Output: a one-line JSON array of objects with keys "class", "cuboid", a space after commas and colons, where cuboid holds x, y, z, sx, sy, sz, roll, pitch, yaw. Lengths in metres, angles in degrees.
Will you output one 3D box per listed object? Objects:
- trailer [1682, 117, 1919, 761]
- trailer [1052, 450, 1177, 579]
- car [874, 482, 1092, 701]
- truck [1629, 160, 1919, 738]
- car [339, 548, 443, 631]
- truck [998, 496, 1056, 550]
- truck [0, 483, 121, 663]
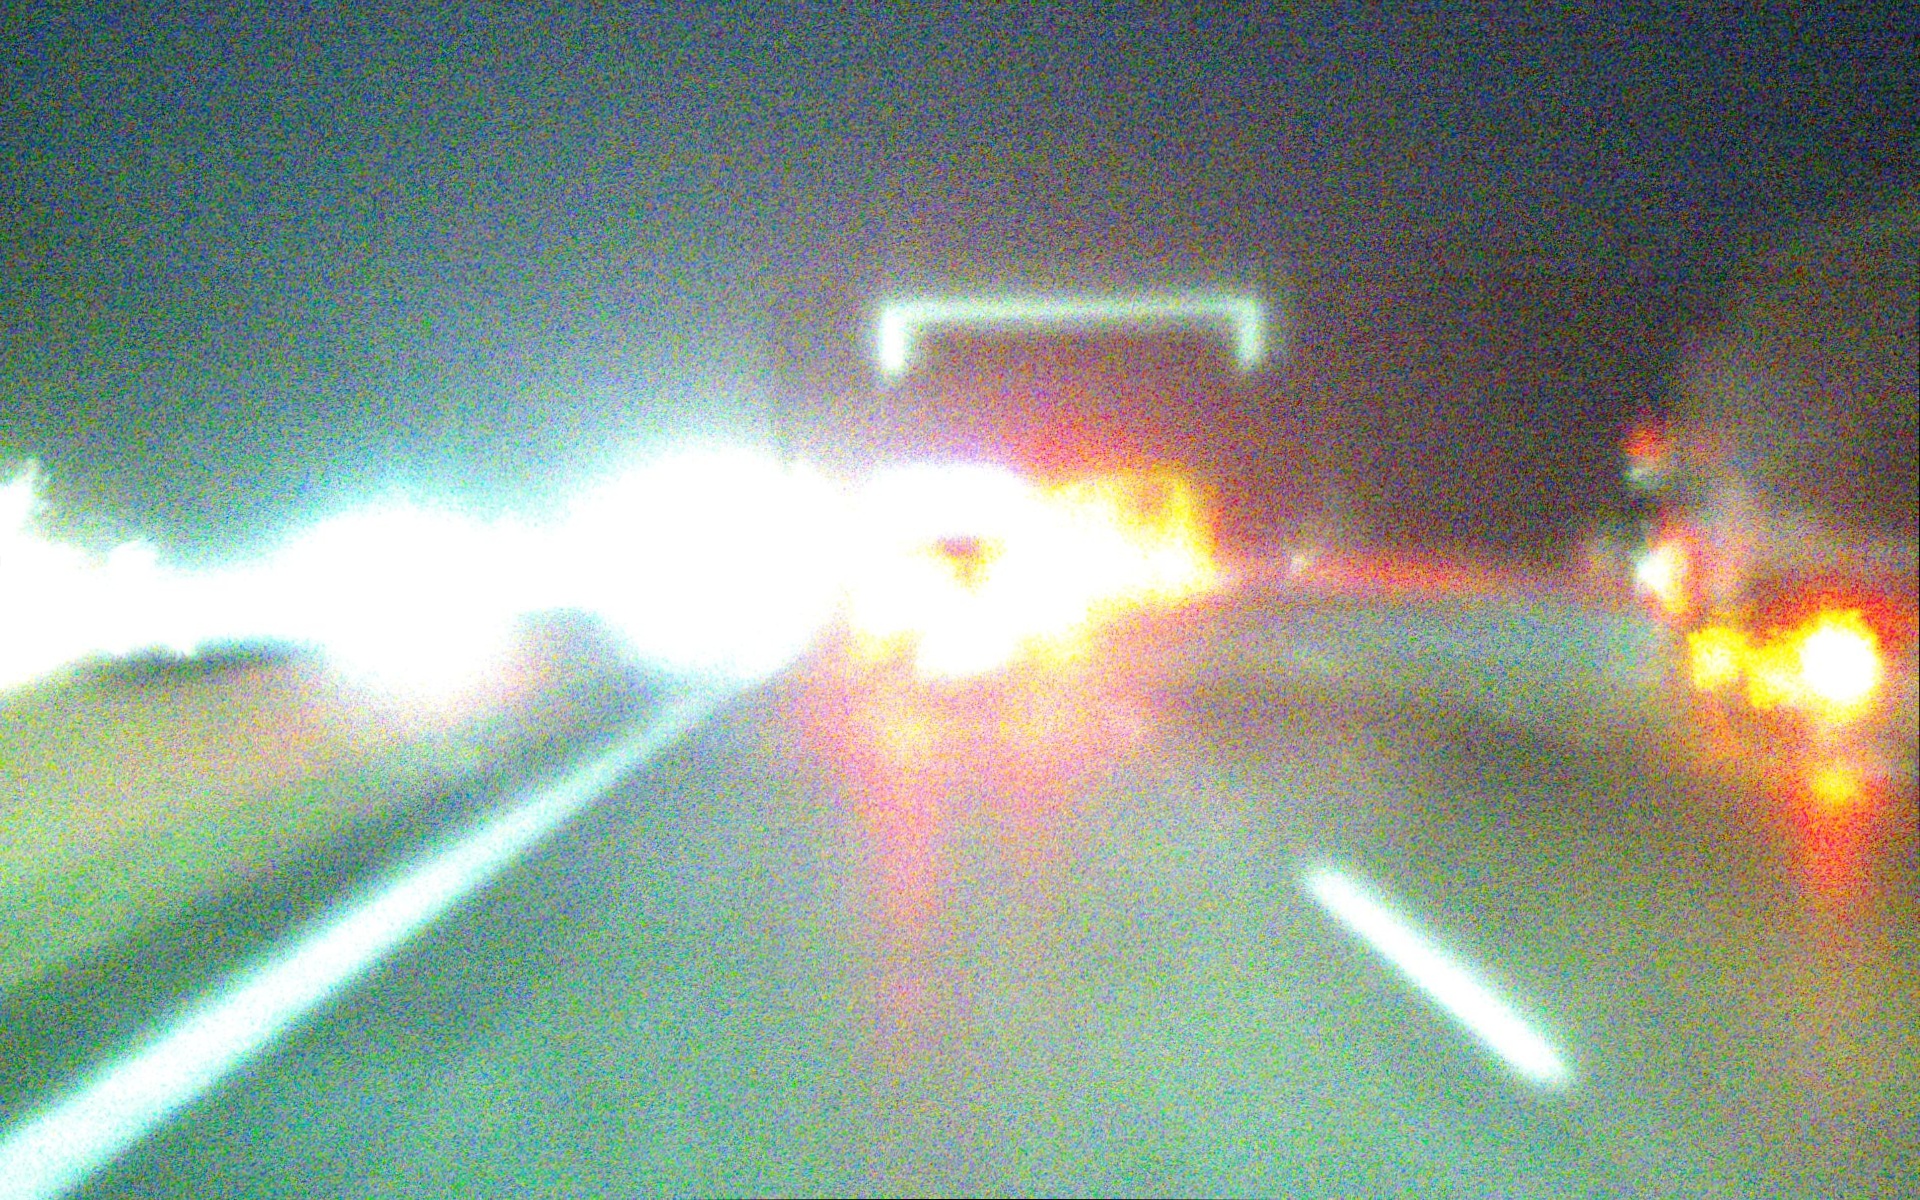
[{"class": "trailer", "cuboid": [7.580, -1.037, 21.226, 2.903, 4.094, 14.489, -2, 1, -1]}, {"class": "trailer", "cuboid": [5.216, -2.845, 119.043, 3.041, 4.094, 13.830, -2, 0, -2]}, {"class": "car", "cuboid": [0.186, -0.081, 34.069, 1.993, 2.007, 4.000, 1, 0, -1]}, {"class": "truck", "cuboid": [7.483, -1.156, 27.525, 2.903, 4.094, 6.031, -2, 1, -1]}, {"class": "car", "cuboid": [-14.405, -0.285, 87.194, 1.993, 2.007, 4.000, -1, 1, -1]}, {"class": "truck", "cuboid": [4.351, -5.039, 226.130, 3.037, 3.286, 11.382, -2, 0, -2]}, {"class": "truck", "cuboid": [-21.971, -0.673, 79.732, 2.867, 3.894, 10.214, -1, 1, -2]}]
